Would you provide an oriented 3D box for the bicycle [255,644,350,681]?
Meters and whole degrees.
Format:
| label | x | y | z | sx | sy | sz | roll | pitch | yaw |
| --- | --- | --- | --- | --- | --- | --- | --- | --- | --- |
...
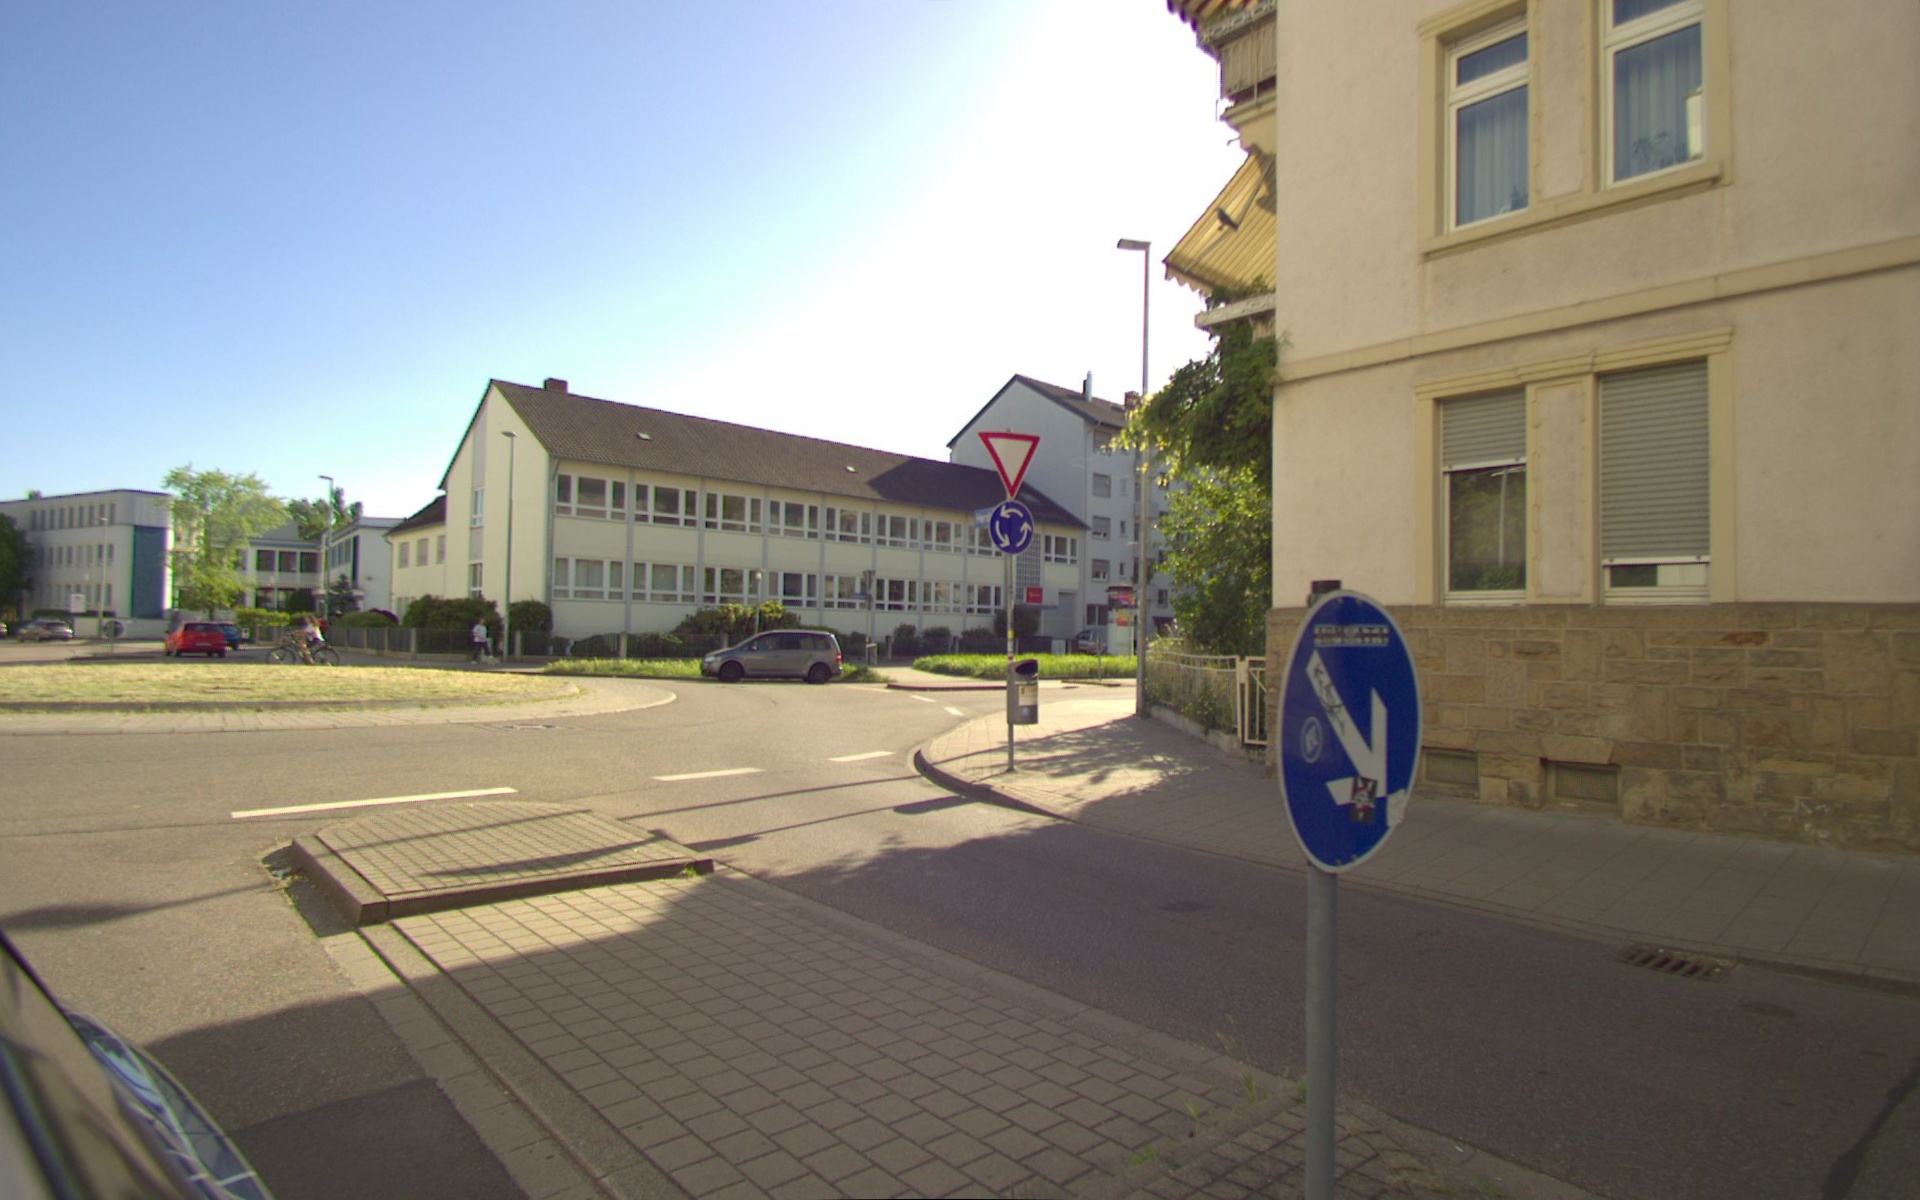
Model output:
| label | x | y | z | sx | sy | sz | roll | pitch | yaw |
| --- | --- | --- | --- | --- | --- | --- | --- | --- | --- |
| bicycle | -19.039 | 1.804 | 29.362 | 2.172 | 1.022 | 0.814 | 1 | -2 | -23 |

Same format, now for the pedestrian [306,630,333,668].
| label | x | y | z | sx | sy | sz | roll | pitch | yaw |
| --- | --- | --- | --- | --- | --- | --- | --- | --- | --- |
| pedestrian | -29.416 | 2.219 | 46.471 | 0.997 | 1.718 | 0.808 | -1 | -3 | 44 |

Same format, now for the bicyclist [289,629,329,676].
| label | x | y | z | sx | sy | sz | roll | pitch | yaw |
| --- | --- | --- | --- | --- | --- | --- | --- | --- | --- |
| bicyclist | -18.915 | 1.519 | 29.418 | 0.811 | 1.322 | 0.814 | 1 | -2 | -23 |

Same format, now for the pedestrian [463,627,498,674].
| label | x | y | z | sx | sy | sz | roll | pitch | yaw |
| --- | --- | --- | --- | --- | --- | --- | --- | --- | --- |
| pedestrian | -17.629 | 1.859 | 37.205 | 0.981 | 1.718 | 0.693 | 1 | -2 | -7 |

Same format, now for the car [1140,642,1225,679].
| label | x | y | z | sx | sy | sz | roll | pitch | yaw |
| --- | --- | --- | --- | --- | --- | --- | --- | --- | --- |
| car | 11.484 | 3.104 | 52.393 | 1.967 | 1.785 | 4.009 | 3 | -3 | -36 |

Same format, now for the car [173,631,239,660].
| label | x | y | z | sx | sy | sz | roll | pitch | yaw |
| --- | --- | --- | --- | --- | --- | --- | --- | --- | --- |
| car | -39.101 | 2.337 | 52.457 | 4.413 | 1.445 | 1.860 | -2 | -2 | 42 |

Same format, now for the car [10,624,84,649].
| label | x | y | z | sx | sy | sz | roll | pitch | yaw |
| --- | --- | --- | --- | --- | --- | --- | --- | --- | --- |
| car | -62.986 | 2.516 | 69.813 | 4.809 | 1.626 | 2.120 | 0 | -1 | 26 |

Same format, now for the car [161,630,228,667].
| label | x | y | z | sx | sy | sz | roll | pitch | yaw |
| --- | --- | --- | --- | --- | --- | --- | --- | --- | --- |
| car | -31.376 | 2.005 | 41.439 | 1.691 | 1.393 | 4.004 | 5 | -6 | -43 |

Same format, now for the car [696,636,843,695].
| label | x | y | z | sx | sy | sz | roll | pitch | yaw |
| --- | --- | --- | --- | --- | --- | --- | --- | --- | --- |
| car | -5.854 | 1.993 | 31.027 | 4.200 | 1.709 | 1.886 | 1 | -3 | -18 |

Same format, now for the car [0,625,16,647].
| label | x | y | z | sx | sy | sz | roll | pitch | yaw |
| --- | --- | --- | --- | --- | --- | --- | --- | --- | --- |
| car | -71.905 | 2.635 | 74.421 | 4.812 | 1.626 | 2.119 | 0 | -1 | 27 |
